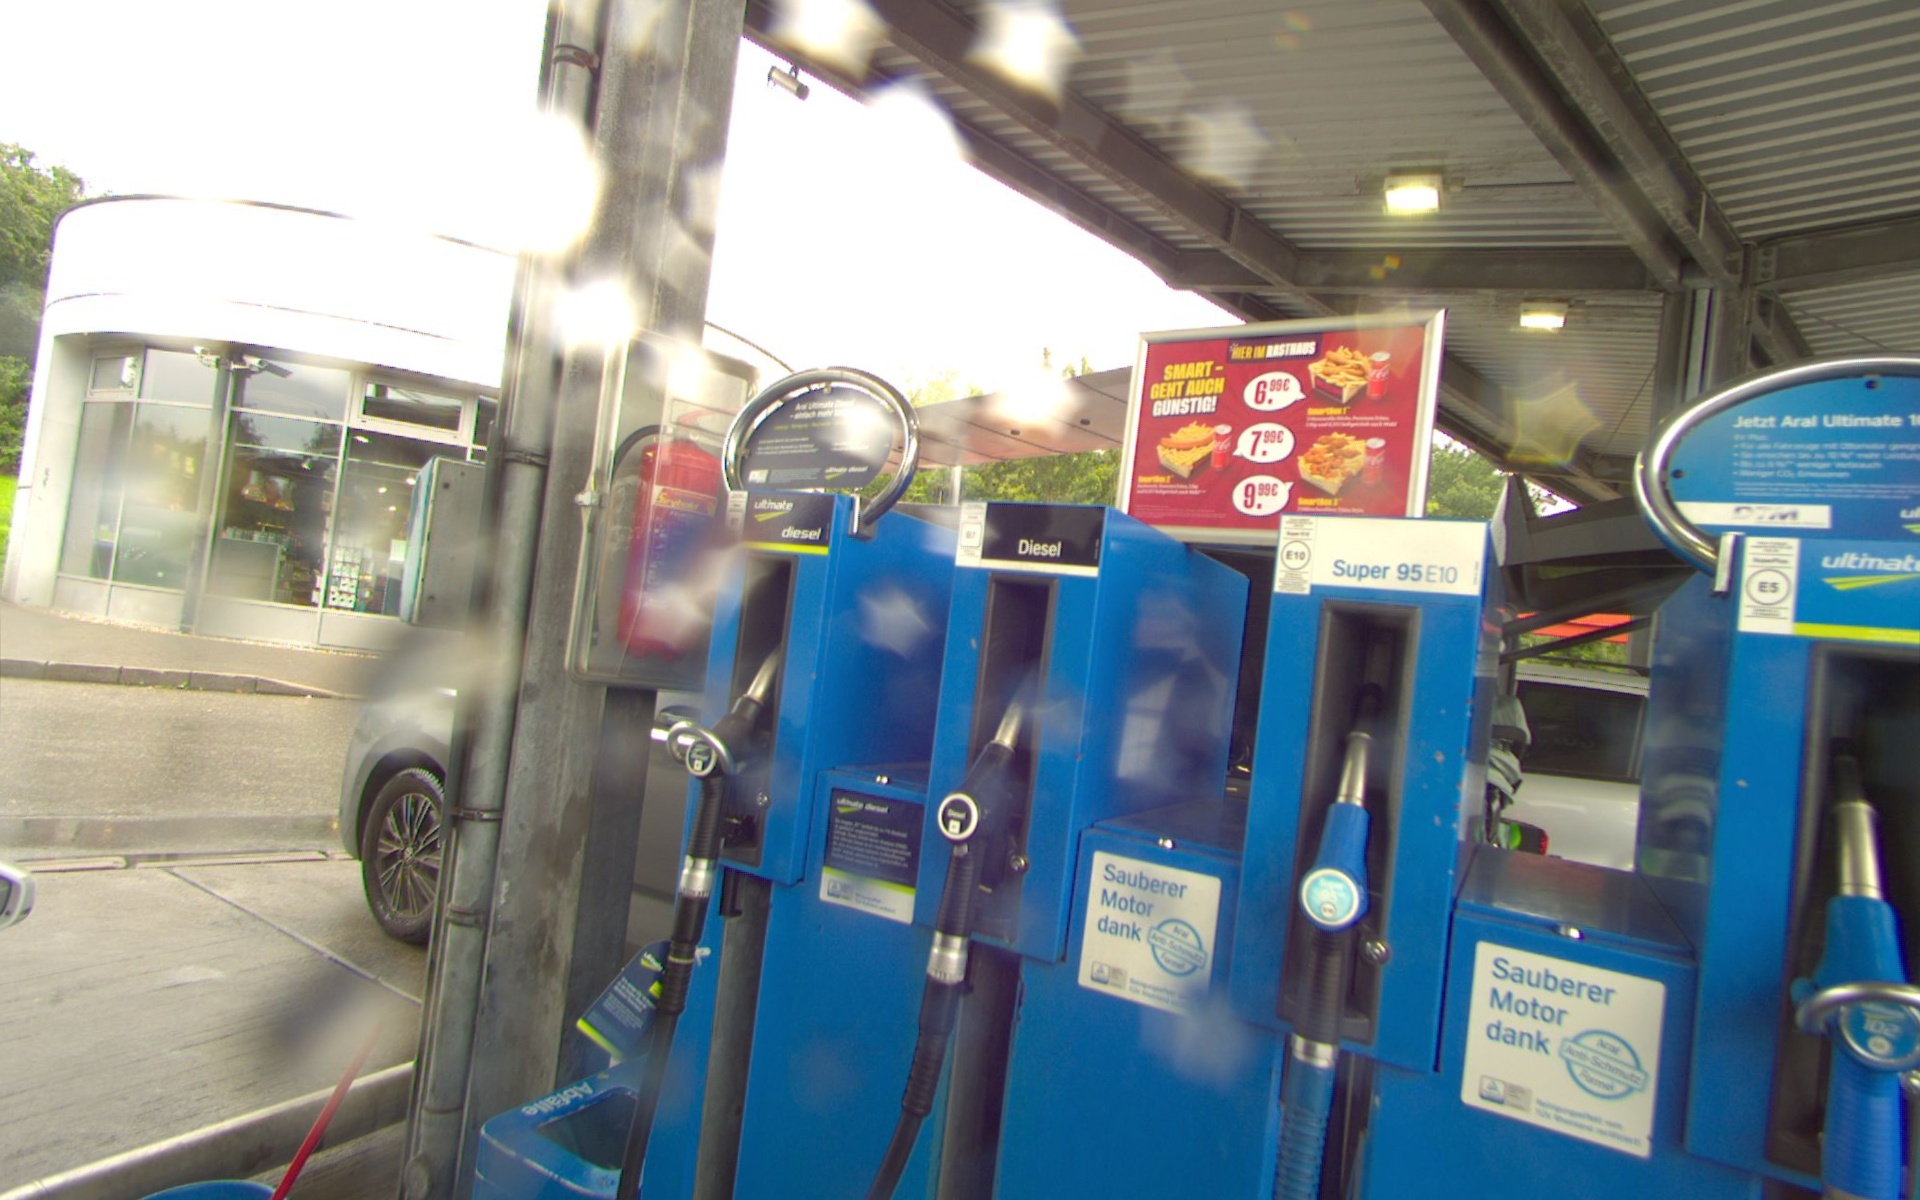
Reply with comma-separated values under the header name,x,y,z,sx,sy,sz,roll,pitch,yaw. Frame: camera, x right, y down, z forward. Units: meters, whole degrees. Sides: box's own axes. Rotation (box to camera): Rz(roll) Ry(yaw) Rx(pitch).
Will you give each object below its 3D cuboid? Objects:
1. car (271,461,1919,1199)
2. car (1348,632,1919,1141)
name,x,y,z,sx,sy,sz,roll,pitch,yaw
car,-0.163,0.643,3.682,5.055,1.819,1.865,6,-2,32
car,4.474,1.368,4.825,4.464,1.819,1.865,6,-2,32
